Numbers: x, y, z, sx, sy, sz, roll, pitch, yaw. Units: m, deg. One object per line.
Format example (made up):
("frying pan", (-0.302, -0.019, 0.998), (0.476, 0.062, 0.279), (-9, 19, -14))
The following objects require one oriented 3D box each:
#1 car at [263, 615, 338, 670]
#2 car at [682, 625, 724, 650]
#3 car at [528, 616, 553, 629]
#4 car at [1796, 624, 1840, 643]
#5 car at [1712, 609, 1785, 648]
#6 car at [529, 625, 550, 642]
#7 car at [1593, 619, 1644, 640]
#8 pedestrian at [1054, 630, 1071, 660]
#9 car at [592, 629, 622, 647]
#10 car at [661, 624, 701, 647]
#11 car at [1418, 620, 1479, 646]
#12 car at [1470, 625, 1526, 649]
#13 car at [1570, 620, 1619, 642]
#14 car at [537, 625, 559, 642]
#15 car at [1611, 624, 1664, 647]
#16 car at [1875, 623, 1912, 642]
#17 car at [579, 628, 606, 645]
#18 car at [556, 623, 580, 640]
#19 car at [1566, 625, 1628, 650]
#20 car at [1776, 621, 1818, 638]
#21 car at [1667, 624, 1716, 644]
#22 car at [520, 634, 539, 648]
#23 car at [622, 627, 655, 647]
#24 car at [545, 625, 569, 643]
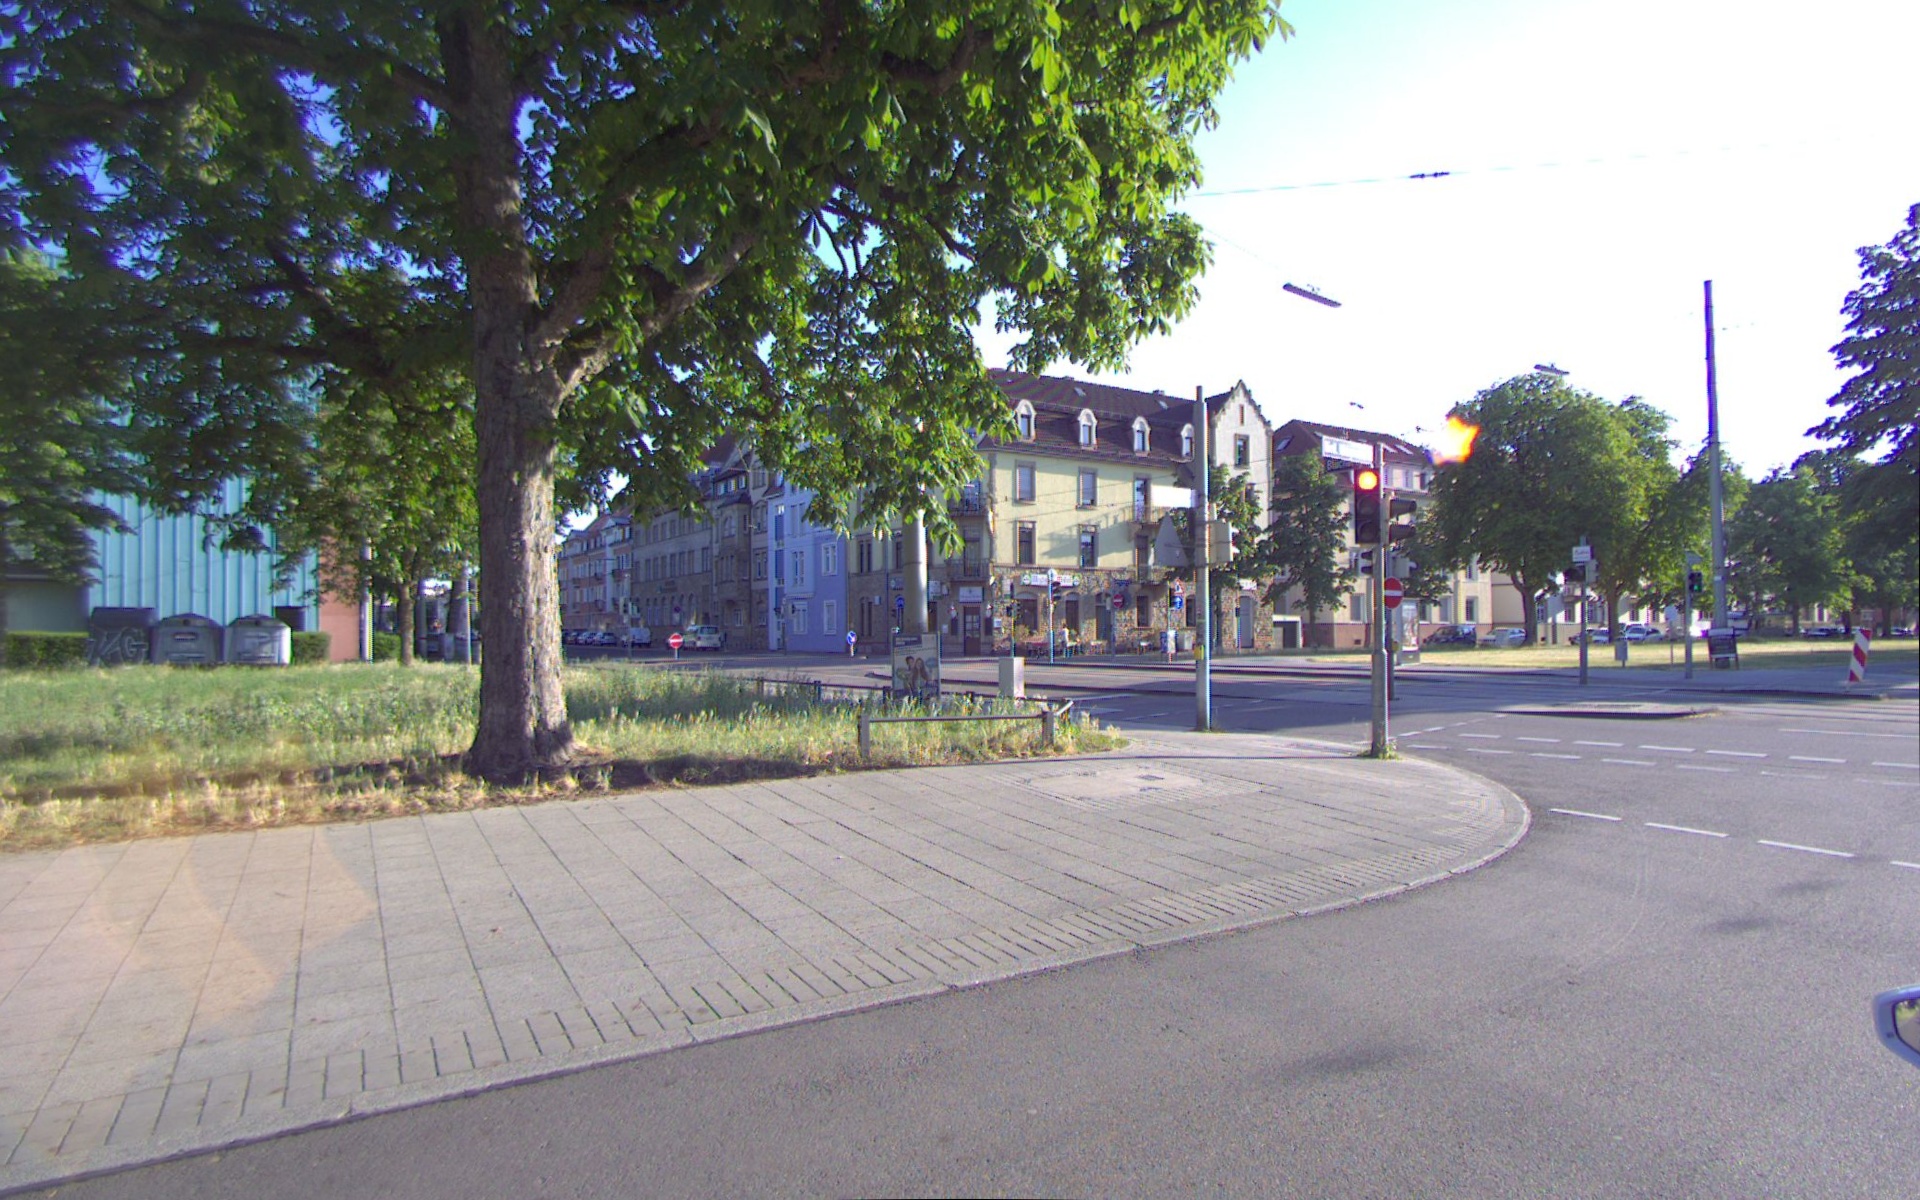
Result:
("car", (-22.686, 1.520, 34.563), (1.979, 1.693, 5.177), (2, -4, -34))
("car", (-20.076, 2.939, 78.283), (2.011, 1.760, 3.743), (2, 0, -34))
("car", (-58.254, 3.174, 139.456), (1.912, 1.715, 3.951), (2, -1, -41))
("car", (80.894, 3.161, 94.699), (4.266, 1.696, 1.869), (2, 0, -31))
("car", (67.940, 2.392, 86.507), (7.764, 3.173, 2.379), (1, 1, -32))
("car", (-54.782, 4.349, 130.902), (1.756, 2.040, 3.790), (2, 0, -34))
("car", (57.627, 2.615, 87.895), (4.517, 1.681, 1.984), (2, 0, -30))
("pedestrian", (5.731, 2.529, 56.357), (0.676, 1.646, 0.612), (2, 0, -34))
("car", (-36.416, 3.900, 103.627), (1.980, 1.694, 3.743), (2, 0, -34))
("car", (-23.140, 2.933, 83.235), (1.980, 1.763, 3.962), (1, 0, -34))
("car", (35.576, 2.436, 73.145), (4.261, 1.759, 1.984), (2, 0, -30))
("car", (40.921, 2.822, 76.362), (3.953, 1.681, 1.984), (2, 0, -30))
("car", (52.780, 2.578, 83.568), (4.142, 1.654, 1.707), (2, 0, -30))
("car", (-51.976, 4.212, 126.670), (1.789, 2.040, 3.772), (2, 0, -33))
("car", (51.425, 2.668, 76.202), (4.372, 1.575, 1.785), (0, 1, -34))
("car", (97.839, 3.416, 105.252), (4.075, 1.804, 1.802), (2, 0, -31))
("car", (-39.659, 3.909, 108.343), (1.816, 1.692, 3.911), (2, 0, -34))
("car", (-45.998, 3.716, 117.739), (1.782, 1.855, 3.755), (2, 0, -34))
("car", (46.466, 2.766, 73.219), (4.517, 1.681, 1.984), (2, 0, -30))
("car", (86.940, 3.058, 104.355), (4.323, 1.681, 1.984), (2, 0, -30))
("car", (66.816, 3.087, 91.777), (4.517, 1.681, 1.984), (2, 0, -30))
("car", (-57.752, 5.503, 134.706), (1.713, 1.694, 3.638), (2, 0, -33))
("car", (-30.085, 3.460, 93.899), (1.980, 1.694, 3.743), (2, 0, -34))
("car", (-48.995, 4.083, 122.101), (1.805, 2.040, 3.924), (2, 0, -34))
